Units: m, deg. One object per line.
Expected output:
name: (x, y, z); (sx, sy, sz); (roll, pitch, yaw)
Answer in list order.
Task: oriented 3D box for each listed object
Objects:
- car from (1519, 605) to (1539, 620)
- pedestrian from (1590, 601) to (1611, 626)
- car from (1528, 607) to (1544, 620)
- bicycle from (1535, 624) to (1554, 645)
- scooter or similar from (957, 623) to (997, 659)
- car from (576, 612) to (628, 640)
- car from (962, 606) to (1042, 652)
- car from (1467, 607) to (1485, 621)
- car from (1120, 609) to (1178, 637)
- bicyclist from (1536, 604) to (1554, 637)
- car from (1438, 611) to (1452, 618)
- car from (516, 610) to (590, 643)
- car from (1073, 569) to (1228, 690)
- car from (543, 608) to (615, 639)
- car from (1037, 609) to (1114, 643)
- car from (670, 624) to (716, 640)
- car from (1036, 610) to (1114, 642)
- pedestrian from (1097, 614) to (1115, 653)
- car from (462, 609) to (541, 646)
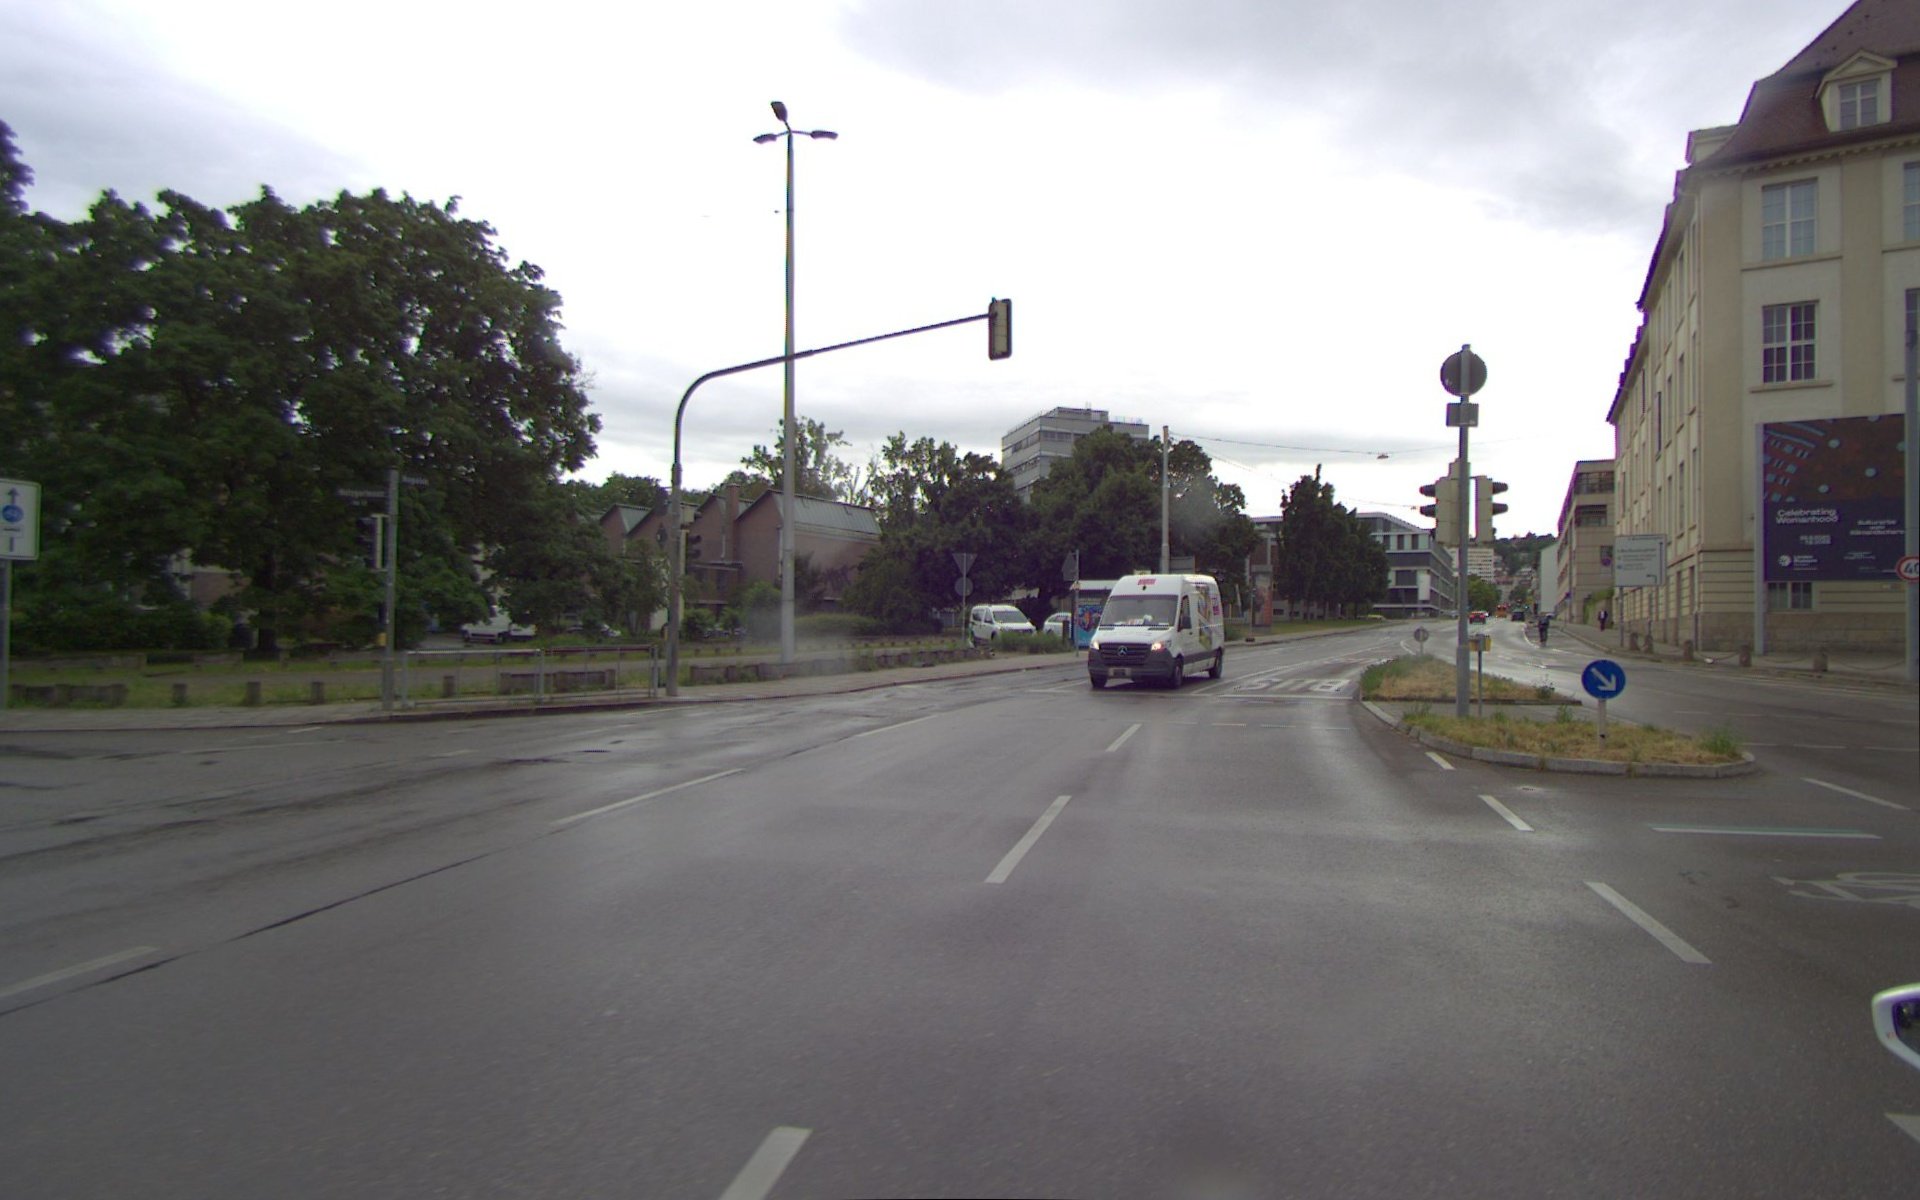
car: (67.685, 1.453, 119.374); (1.813, 1.581, 3.989); (1, 2, 33)
pedestrian: (47.917, 1.003, 75.176); (1.222, 1.812, 1.591); (-2, -1, 32)
car: (77.957, 1.774, 135.896); (1.812, 1.581, 3.991); (1, 2, 30)
bicycle: (29.819, 1.750, 51.284); (0.635, 1.070, 1.820); (1, -1, 24)
scooter or similar: (0.569, 1.376, 33.716); (1.235, 1.183, 0.549); (1, 1, -23)
car: (-27.818, 1.984, 78.057); (3.936, 2.040, 1.992); (1, 1, 37)
car: (1.668, 1.199, 41.518); (1.805, 1.791, 4.488); (1, -1, -18)
car: (62.910, 1.698, 122.467); (1.864, 1.647, 3.639); (1, 2, 29)
car: (10.342, 1.240, 55.325); (1.821, 1.461, 4.067); (1, 0, -10)
bicyclist: (29.888, 1.031, 51.342); (0.689, 1.654, 1.127); (1, 1, 26)
car: (89.549, 2.671, 185.453); (1.813, 1.252, 3.406); (1, 2, 33)
car: (-28.506, 1.819, 70.302); (4.989, 2.049, 2.283); (1, 1, 31)
car: (4.759, 0.683, 24.142); (2.027, 2.527, 6.031); (-1, -1, 27)
car: (-27.730, 1.665, 73.065); (4.990, 2.102, 2.283); (1, 1, 32)
car: (5.486, 1.219, 48.175); (1.810, 1.434, 3.972); (1, 1, -27)
car: (-21.558, 2.550, 81.044); (3.492, 1.158, 1.589); (1, 1, 30)
car: (5.474, 1.261, 48.181); (1.830, 1.461, 4.049); (1, -2, -26)
pedestrian: (6.117, 1.386, 42.018); (0.602, 1.616, 0.508); (1, 1, -7)
car: (-30.187, 1.767, 66.117); (4.989, 2.208, 2.283); (1, 1, 31)
